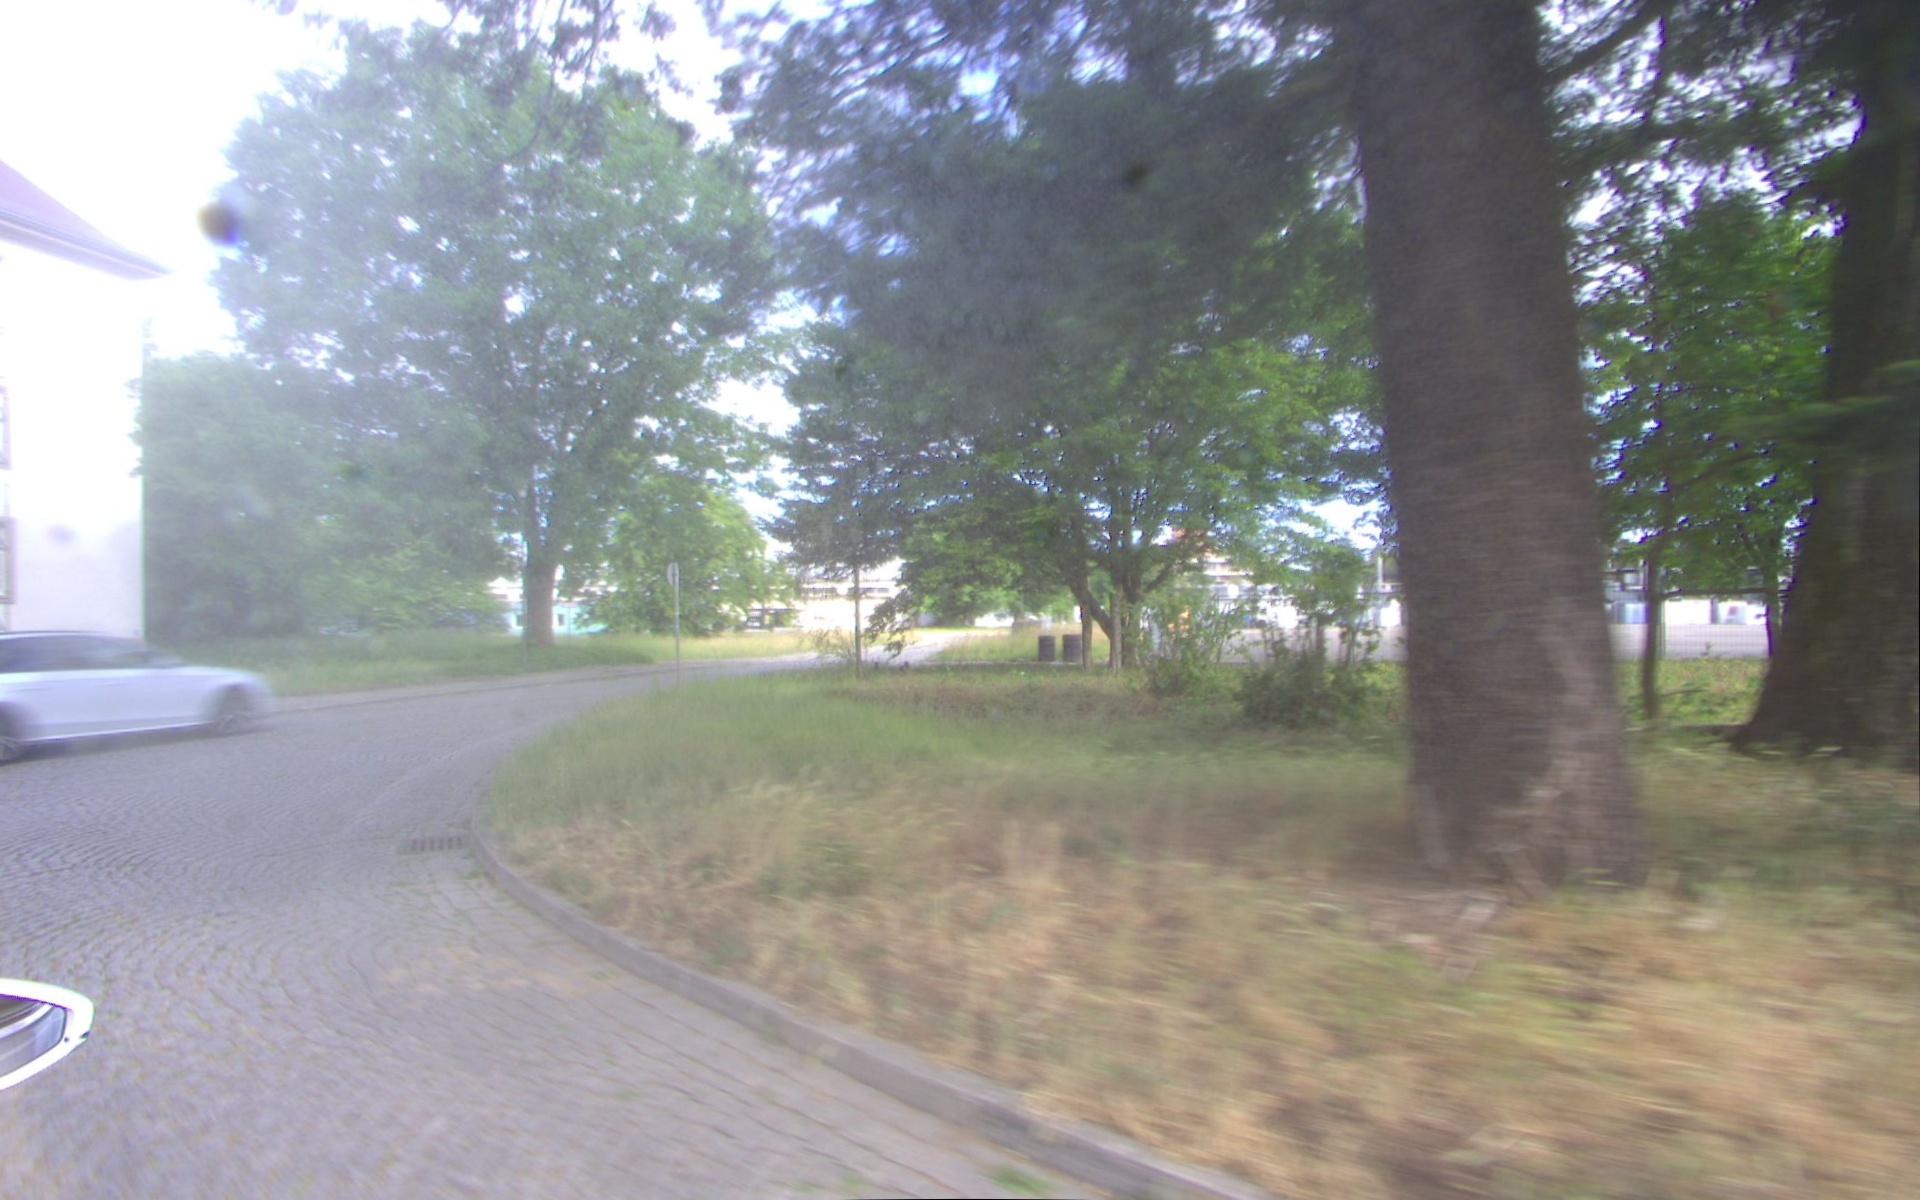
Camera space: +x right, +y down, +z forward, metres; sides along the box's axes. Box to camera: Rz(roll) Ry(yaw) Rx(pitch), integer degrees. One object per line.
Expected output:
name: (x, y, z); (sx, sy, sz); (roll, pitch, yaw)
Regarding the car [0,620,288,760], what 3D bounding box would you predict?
car: (-10.730, 0.971, 11.824); (1.820, 1.456, 4.703); (0, -1, 12)
